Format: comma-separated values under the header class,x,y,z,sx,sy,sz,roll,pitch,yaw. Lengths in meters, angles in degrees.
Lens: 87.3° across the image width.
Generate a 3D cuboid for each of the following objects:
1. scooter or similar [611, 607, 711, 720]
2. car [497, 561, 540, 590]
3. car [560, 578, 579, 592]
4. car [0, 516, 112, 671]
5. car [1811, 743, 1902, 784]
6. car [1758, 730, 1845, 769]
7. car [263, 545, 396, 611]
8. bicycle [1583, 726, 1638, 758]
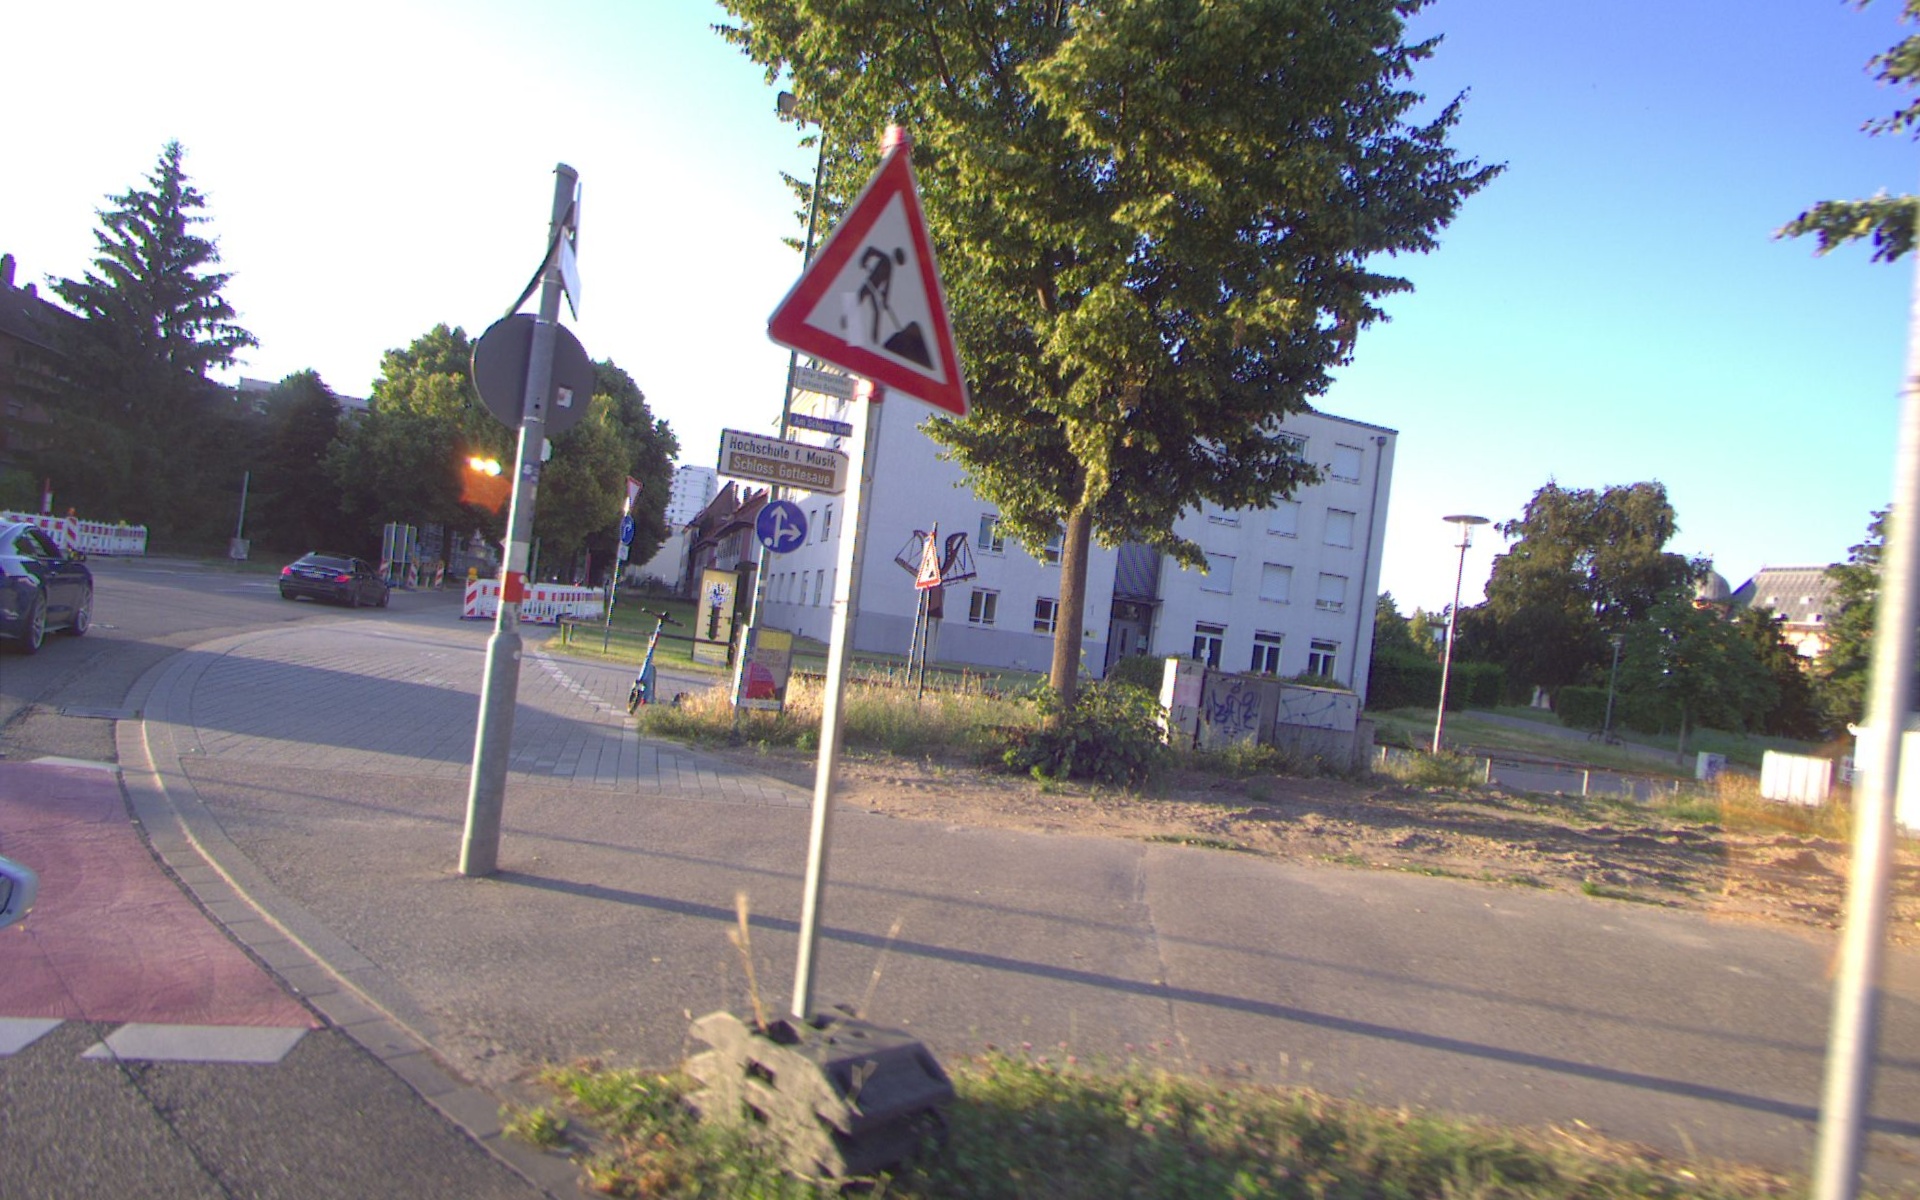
class,x,y,z,sx,sy,sz,roll,pitch,yaw
scooter or similar,-3.587,0.774,12.141,0.434,1.253,1.124,7,-1,20
car,-29.511,-1.643,67.407,1.929,1.589,4.413,9,-1,-17
car,-51.346,-1.940,132.330,1.931,1.620,4.061,9,-2,-19
car,-10.761,-0.251,10.739,1.940,1.357,4.630,9,-2,-33
car,45.676,8.313,51.241,3.778,1.503,1.886,8,-2,-22
car,44.776,7.941,53.524,3.778,1.503,1.886,8,-2,-22
car,-17.984,-0.590,28.962,1.929,1.443,4.416,9,-2,-16
bicycle,24.649,5.374,38.154,0.399,0.890,1.840,7,0,-18
